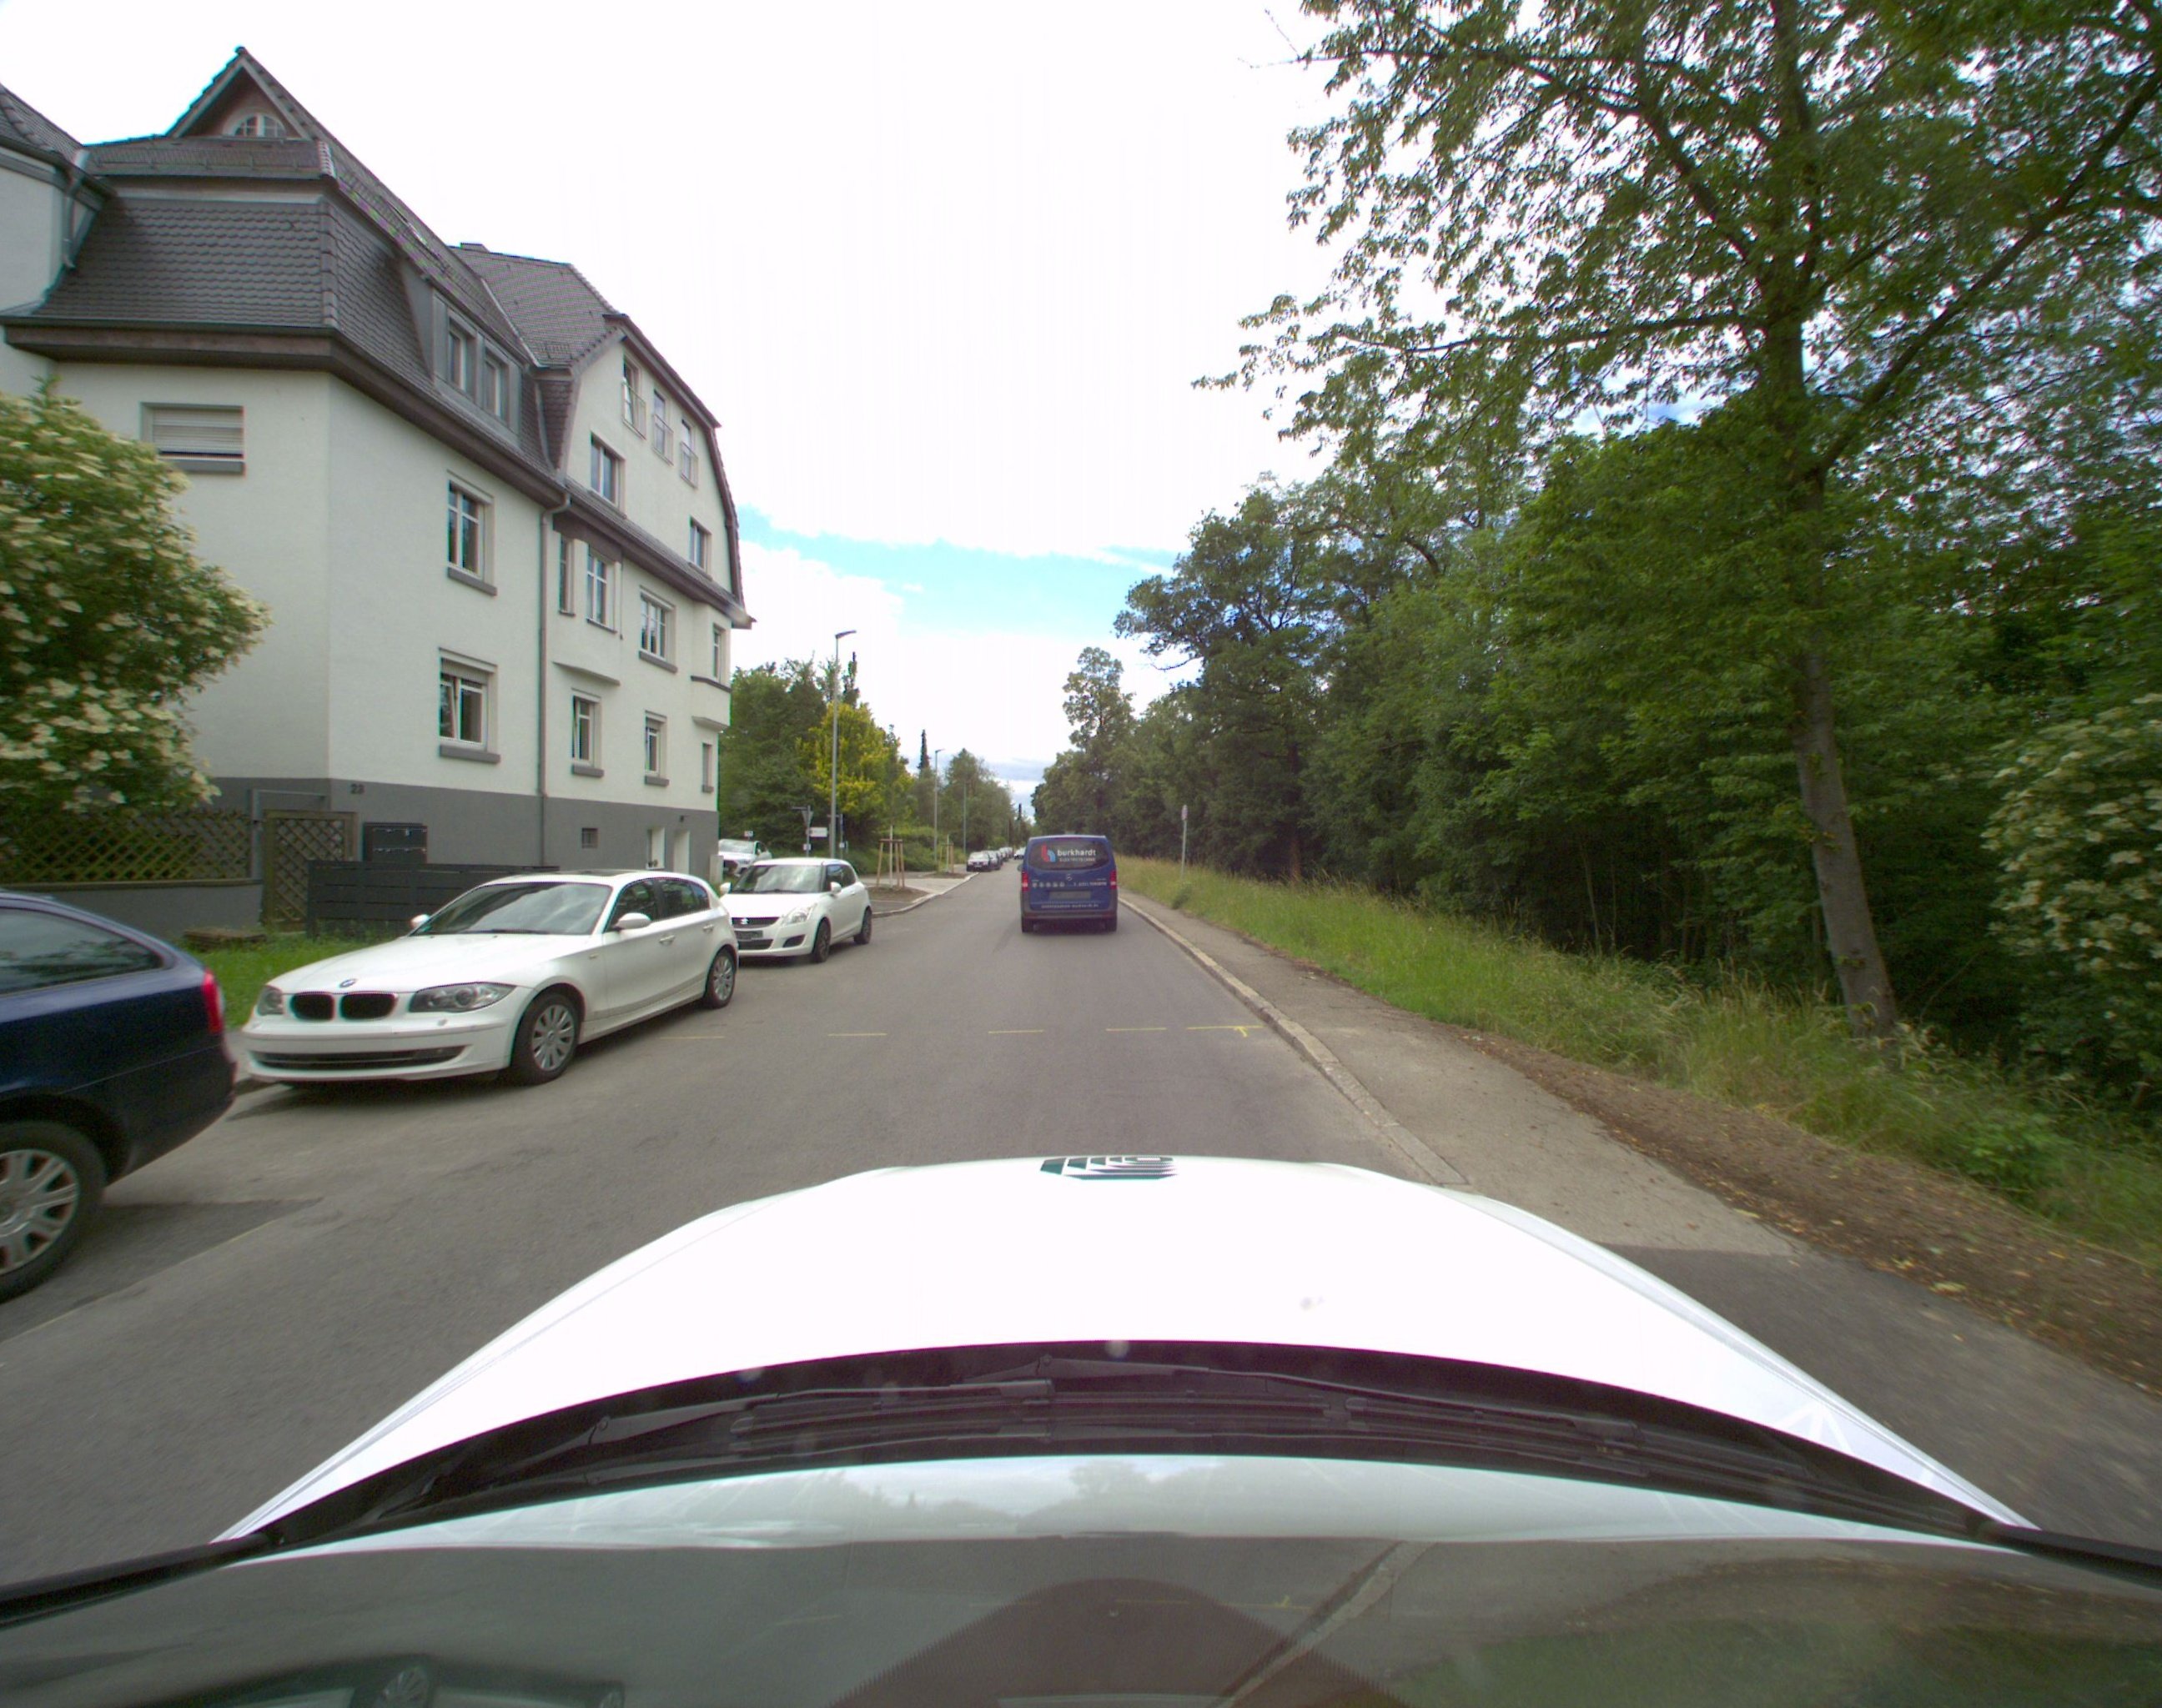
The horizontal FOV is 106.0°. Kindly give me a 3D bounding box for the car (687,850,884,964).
[{"bbox_3d":[-4.383,0.690,12.782,1.638,1.469,4.069,-1,0,-1],"label":"car"}]

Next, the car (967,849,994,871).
[{"bbox_3d":[-7.313,0.413,59.559,1.679,1.482,4.686,0,0,-4],"label":"car"}]

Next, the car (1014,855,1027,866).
[{"bbox_3d":[-8.830,0.930,119.015,1.777,1.426,4.482,1,0,-5],"label":"car"}]

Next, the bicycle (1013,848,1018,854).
[{"bbox_3d":[-15.148,-0.731,188.246,0.903,1.251,2.915,4,0,0],"label":"bicycle"}]

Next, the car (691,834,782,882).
[{"bbox_3d":[-12.724,0.175,30.382,1.904,1.533,4.584,3,-1,-8],"label":"car"}]

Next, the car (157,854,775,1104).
[{"bbox_3d":[-4.395,0.730,7.008,1.719,1.390,4.725,-1,-1,0],"label":"car"}]

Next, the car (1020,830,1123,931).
[{"bbox_3d":[-0.295,0.437,16.951,1.885,1.843,3.995,0,2,-4],"label":"car"}]

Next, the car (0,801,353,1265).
[{"bbox_3d":[-4.521,0.611,1.696,1.722,1.573,4.812,-2,-1,-1],"label":"car"}]

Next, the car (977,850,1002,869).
[{"bbox_3d":[-7.222,0.397,64.545,1.702,1.482,4.491,0,0,-3],"label":"car"}]
